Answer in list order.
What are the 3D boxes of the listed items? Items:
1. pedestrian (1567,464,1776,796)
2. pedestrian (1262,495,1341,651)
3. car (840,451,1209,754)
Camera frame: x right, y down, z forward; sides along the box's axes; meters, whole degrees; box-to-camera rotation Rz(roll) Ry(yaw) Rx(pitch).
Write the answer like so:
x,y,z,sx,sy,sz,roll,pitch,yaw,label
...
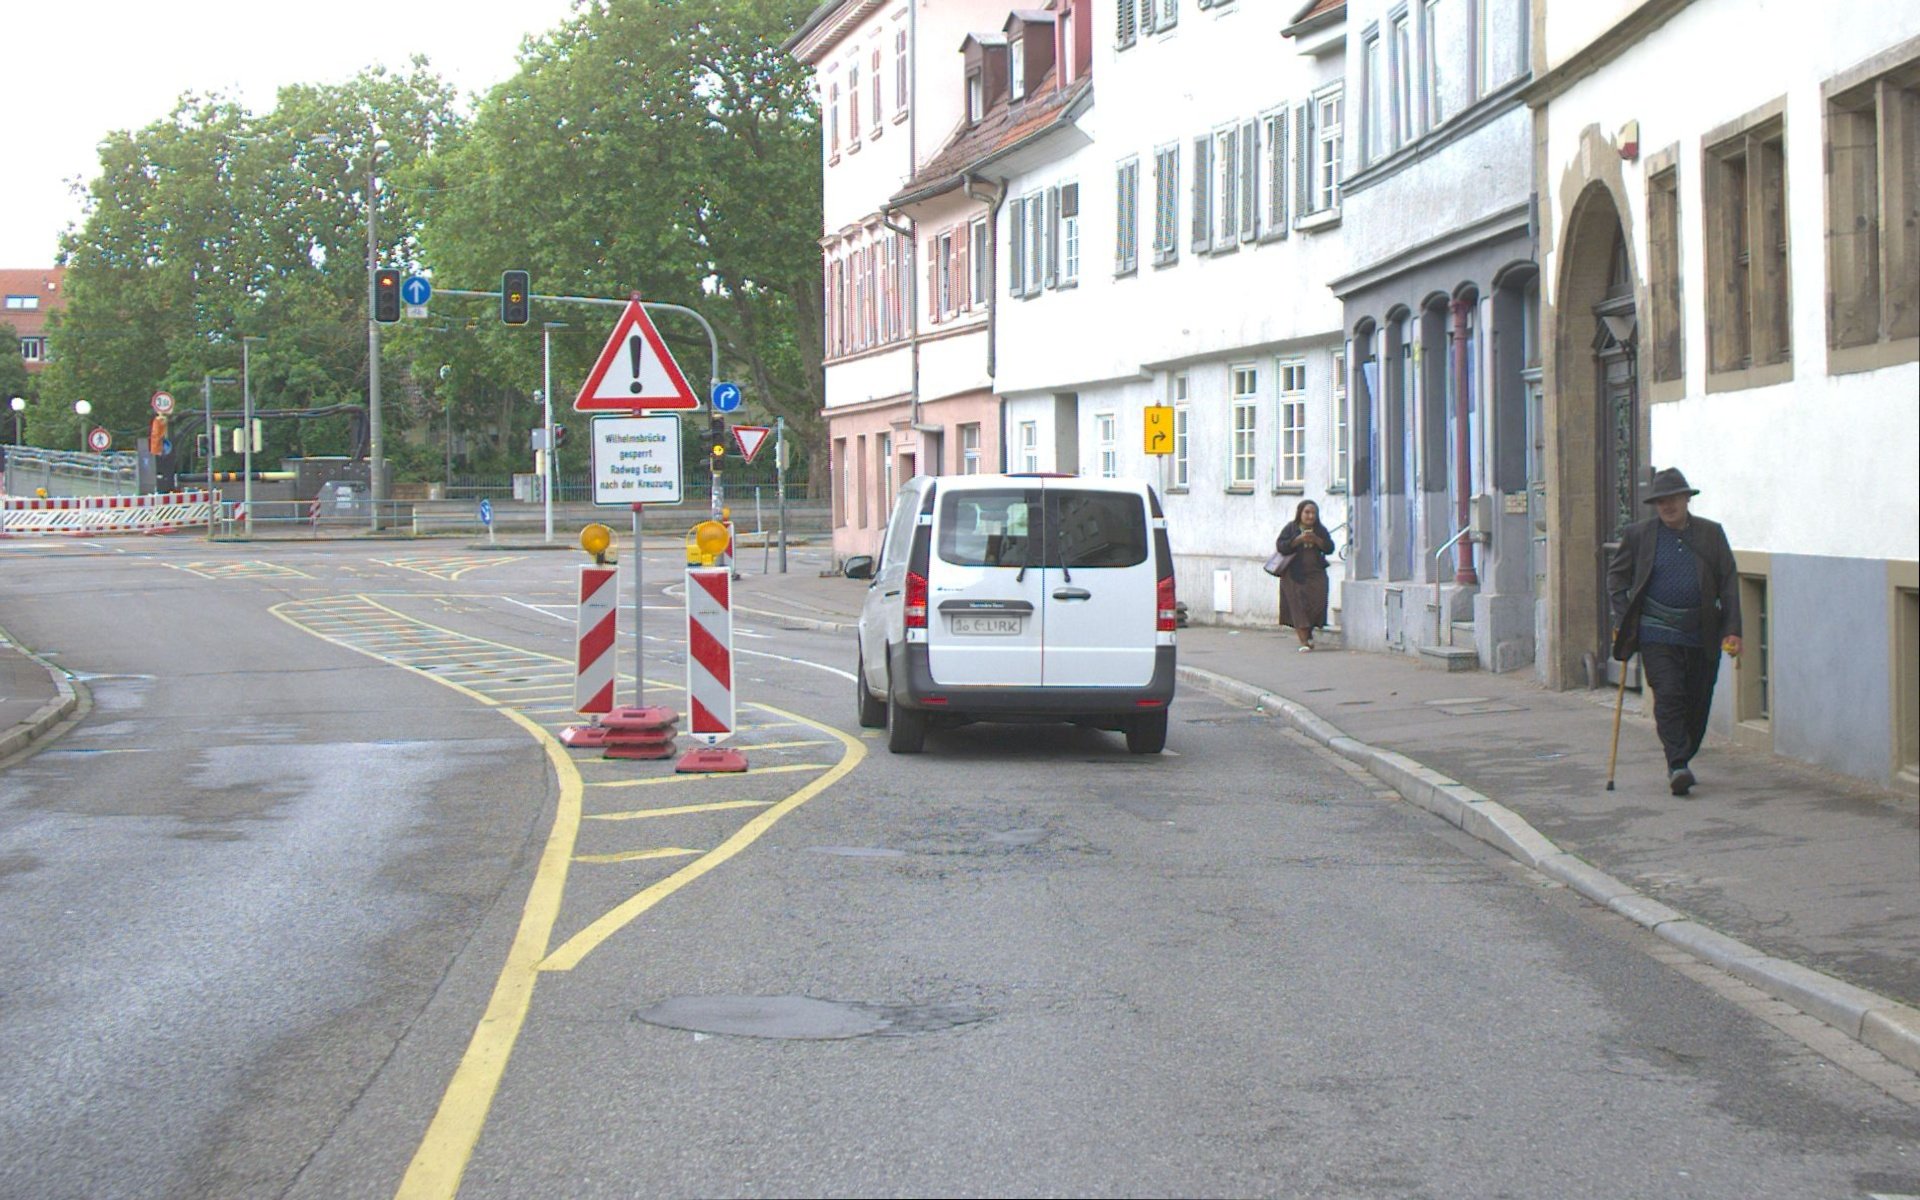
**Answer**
x,y,z,sx,sy,sz,roll,pitch,yaw,label
3.705,0.147,17.964,0.832,1.650,0.944,-3,1,1,pedestrian
3.688,-0.299,37.163,0.755,1.661,0.809,0,1,0,pedestrian
0.347,0.003,24.252,1.993,1.916,4.250,1,0,-7,car
